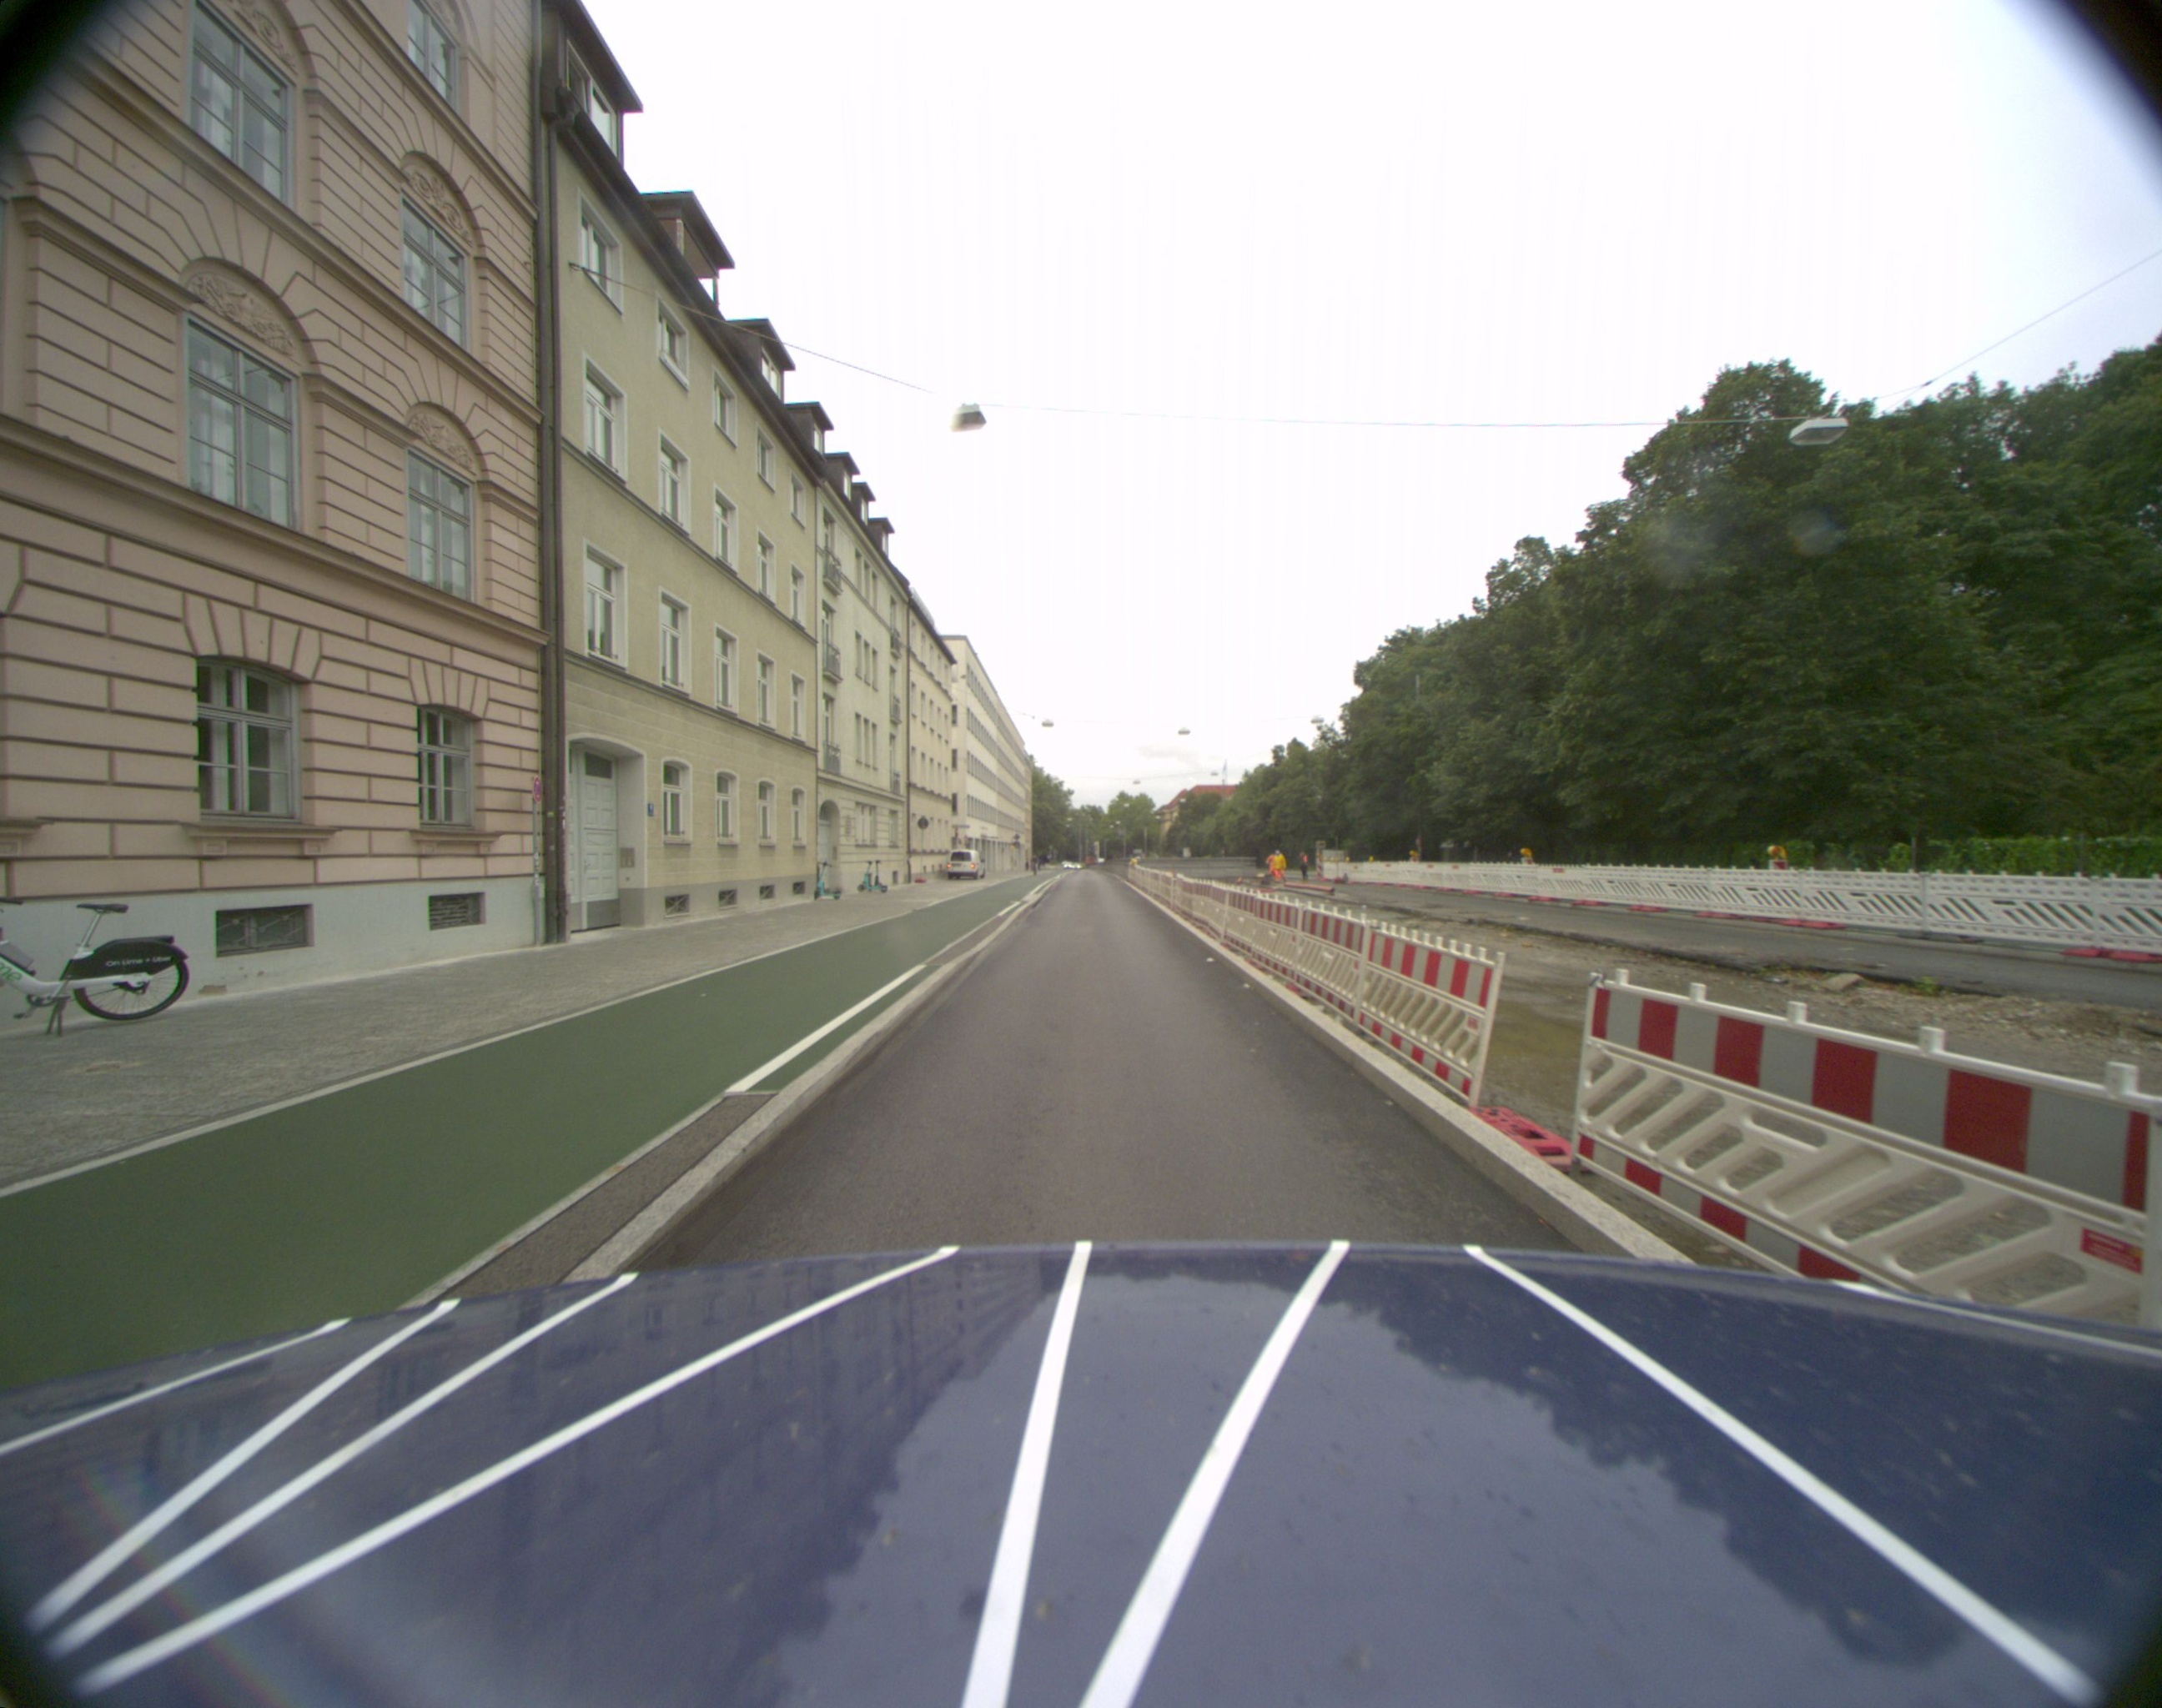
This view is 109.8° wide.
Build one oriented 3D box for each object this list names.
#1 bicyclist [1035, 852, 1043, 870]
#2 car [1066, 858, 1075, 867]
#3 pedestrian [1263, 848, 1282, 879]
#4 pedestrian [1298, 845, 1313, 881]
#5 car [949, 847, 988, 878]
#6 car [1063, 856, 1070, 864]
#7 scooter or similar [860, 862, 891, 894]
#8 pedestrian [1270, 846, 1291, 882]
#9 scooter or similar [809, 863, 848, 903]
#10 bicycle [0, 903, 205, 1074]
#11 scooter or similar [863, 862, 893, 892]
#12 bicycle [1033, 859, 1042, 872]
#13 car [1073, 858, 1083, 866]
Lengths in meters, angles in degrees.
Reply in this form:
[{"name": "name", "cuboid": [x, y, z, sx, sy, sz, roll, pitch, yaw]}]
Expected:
[{"name": "bicyclist", "cuboid": [-3.531, 0.598, 63.366, 0.632, 1.459, 0.652, 0, 1, -6]}, {"name": "car", "cuboid": [-2.622, 1.998, 186.304, 1.998, 2.002, 3.999, -2, 1, 1]}, {"name": "pedestrian", "cuboid": [10.780, 0.526, 42.759, 0.900, 1.678, 0.911, 0, 1, 3]}, {"name": "pedestrian", "cuboid": [12.161, 0.469, 41.180, 0.666, 1.959, 0.807, 0, 1, 26]}, {"name": "car", "cuboid": [-6.904, 0.485, 46.972, 1.766, 1.821, 3.999, 0, 0, 0]}, {"name": "car", "cuboid": [-4.417, 1.785, 226.358, 1.999, 2.002, 3.999, -2, 1, -2]}, {"name": "scooter or similar", "cuboid": [-7.904, 0.904, 29.270, 1.078, 1.185, 0.453, 0, 1, -29]}, {"name": "pedestrian", "cuboid": [10.268, 0.498, 39.171, 0.858, 1.826, 0.877, 0, 1, 28]}, {"name": "scooter or similar", "cuboid": [-8.125, 0.905, 24.482, 0.552, 1.238, 1.079, 1, 1, 35]}, {"name": "bicycle", "cuboid": [-8.163, 1.030, 5.881, 0.556, 1.170, 1.727, 0, 0, 15]}, {"name": "scooter or similar", "cuboid": [-8.165, 0.912, 30.607, 1.079, 1.185, 0.436, -1, 1, -39]}, {"name": "bicycle", "cuboid": [-3.599, 0.930, 63.347, 0.632, 1.031, 2.016, 0, 0, -6]}, {"name": "car", "cuboid": [-0.647, 1.623, 158.400, 1.759, 1.461, 3.998, -2, 0, -5]}]
